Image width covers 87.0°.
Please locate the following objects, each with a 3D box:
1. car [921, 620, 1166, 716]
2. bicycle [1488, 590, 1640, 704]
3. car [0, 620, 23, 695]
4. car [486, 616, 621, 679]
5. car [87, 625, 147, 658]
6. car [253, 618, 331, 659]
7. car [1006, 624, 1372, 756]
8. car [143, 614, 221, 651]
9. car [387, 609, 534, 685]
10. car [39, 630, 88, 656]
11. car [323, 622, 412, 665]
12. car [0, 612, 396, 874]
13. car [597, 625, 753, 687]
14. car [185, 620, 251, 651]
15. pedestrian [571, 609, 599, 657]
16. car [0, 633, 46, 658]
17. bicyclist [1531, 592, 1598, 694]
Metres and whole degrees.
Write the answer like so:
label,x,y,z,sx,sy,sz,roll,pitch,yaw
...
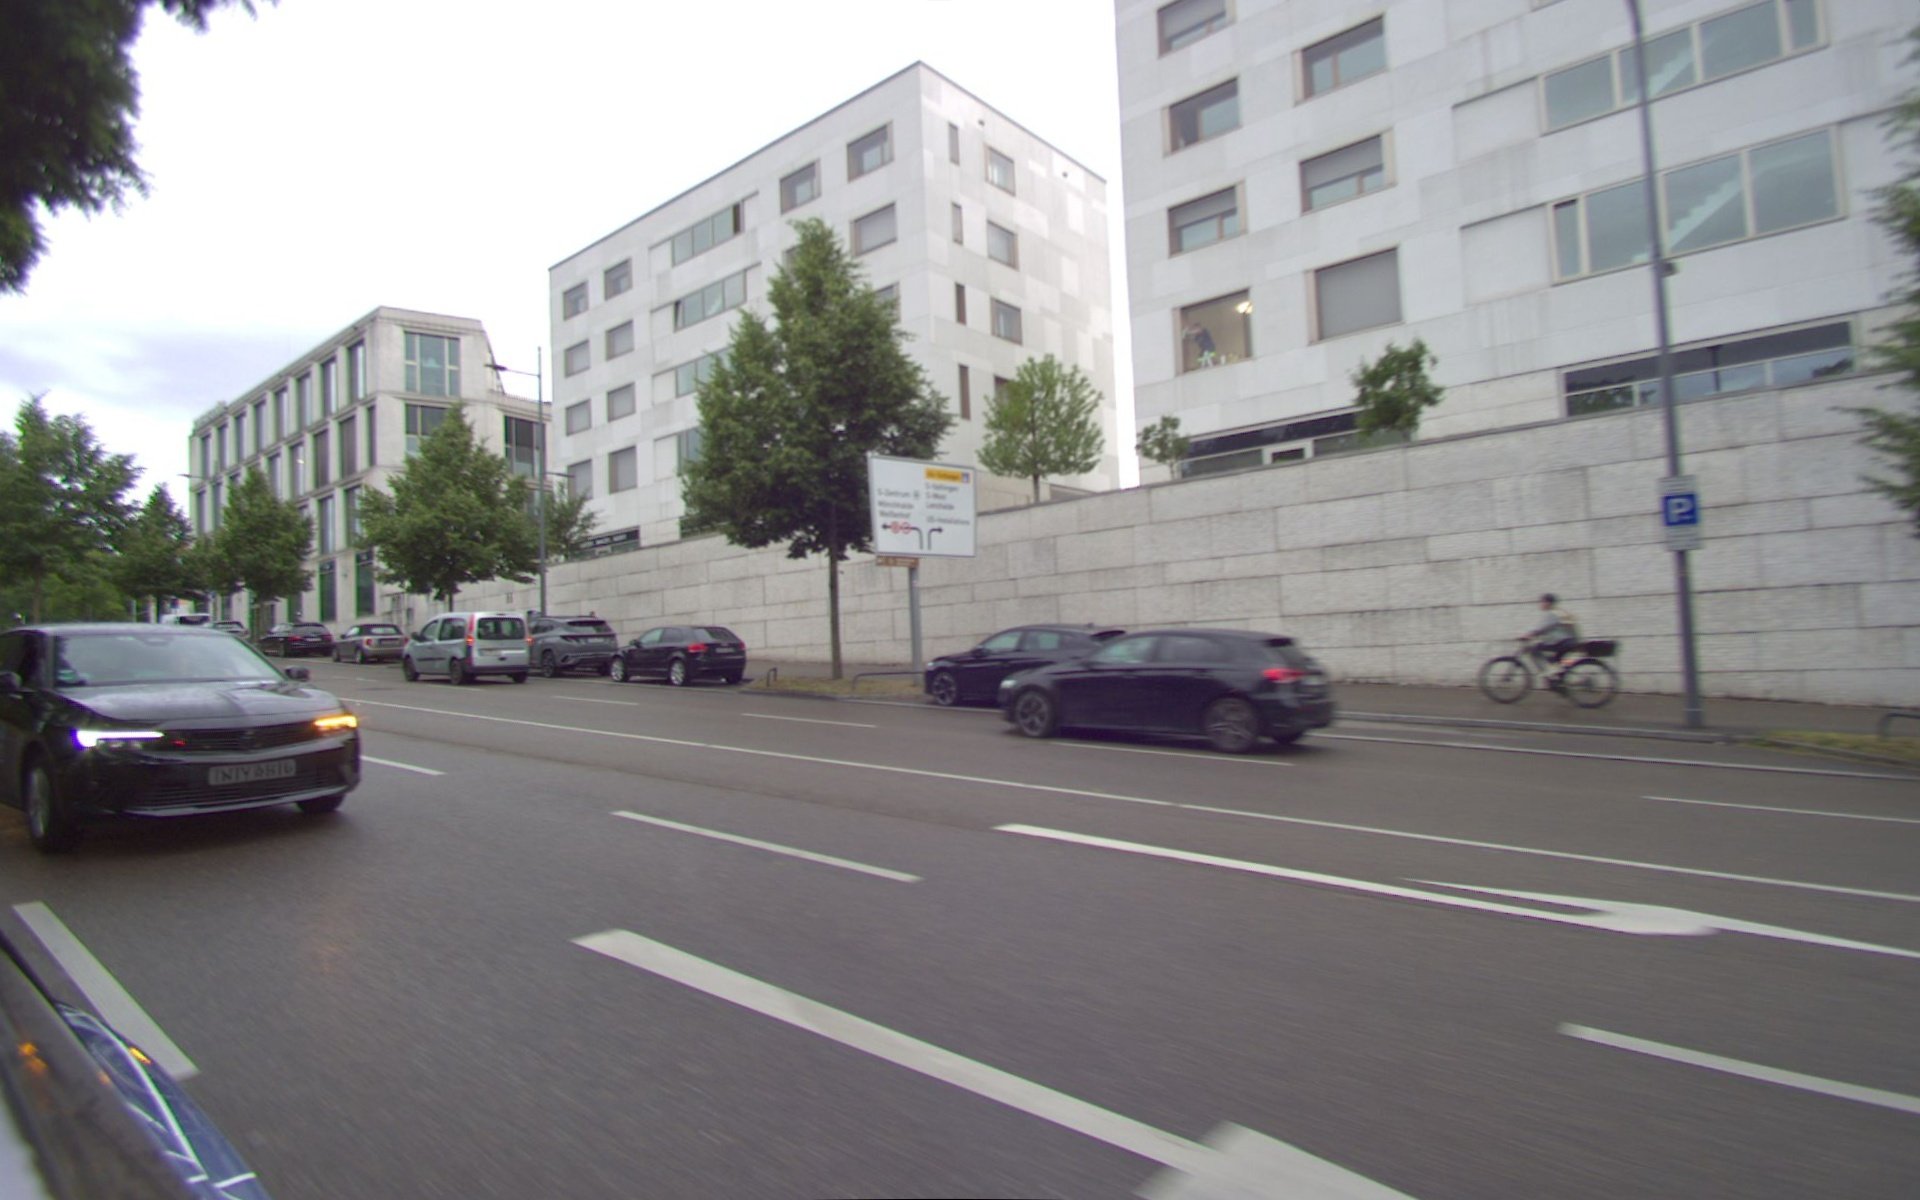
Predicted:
label,x,y,z,sx,sy,sz,roll,pitch,yaw
car,1.354,1.084,17.400,3.963,1.437,1.662,-1,0,41
bicycle,9.344,0.721,15.701,1.879,1.670,0.735,-3,-3,40
car,-20.349,1.159,20.483,1.876,1.450,4.006,-1,0,-41
car,-11.432,1.268,28.347,4.359,1.632,1.686,-1,-1,40
car,-43.493,2.138,52.171,4.013,1.593,1.678,-2,0,40
car,-27.870,1.573,42.191,4.014,1.593,1.678,-1,0,41
car,2.764,1.023,12.772,4.187,1.391,1.752,-1,-3,40
car,-41.686,1.772,54.176,5.254,1.829,2.101,-3,-2,39
car,-12.714,1.167,25.662,4.333,1.760,1.693,-2,-3,39
car,-54.101,2.580,61.069,3.992,1.422,1.624,-5,-4,40
car,-21.868,1.595,37.298,3.858,1.455,1.677,-2,0,41
car,-6.341,0.843,7.683,4.508,1.441,1.784,-1,-1,34
car,-6.998,1.322,24.650,4.160,1.370,1.677,-2,-2,41
car,-36.110,1.748,49.233,3.694,1.395,1.678,-2,0,39
pedestrian,-14.398,1.270,38.848,0.691,1.788,0.711,-3,-2,39
car,-64.827,3.170,69.955,4.670,1.613,1.810,-3,-2,40
bicyclist,9.362,0.661,15.669,0.768,1.529,0.571,-3,-3,40
